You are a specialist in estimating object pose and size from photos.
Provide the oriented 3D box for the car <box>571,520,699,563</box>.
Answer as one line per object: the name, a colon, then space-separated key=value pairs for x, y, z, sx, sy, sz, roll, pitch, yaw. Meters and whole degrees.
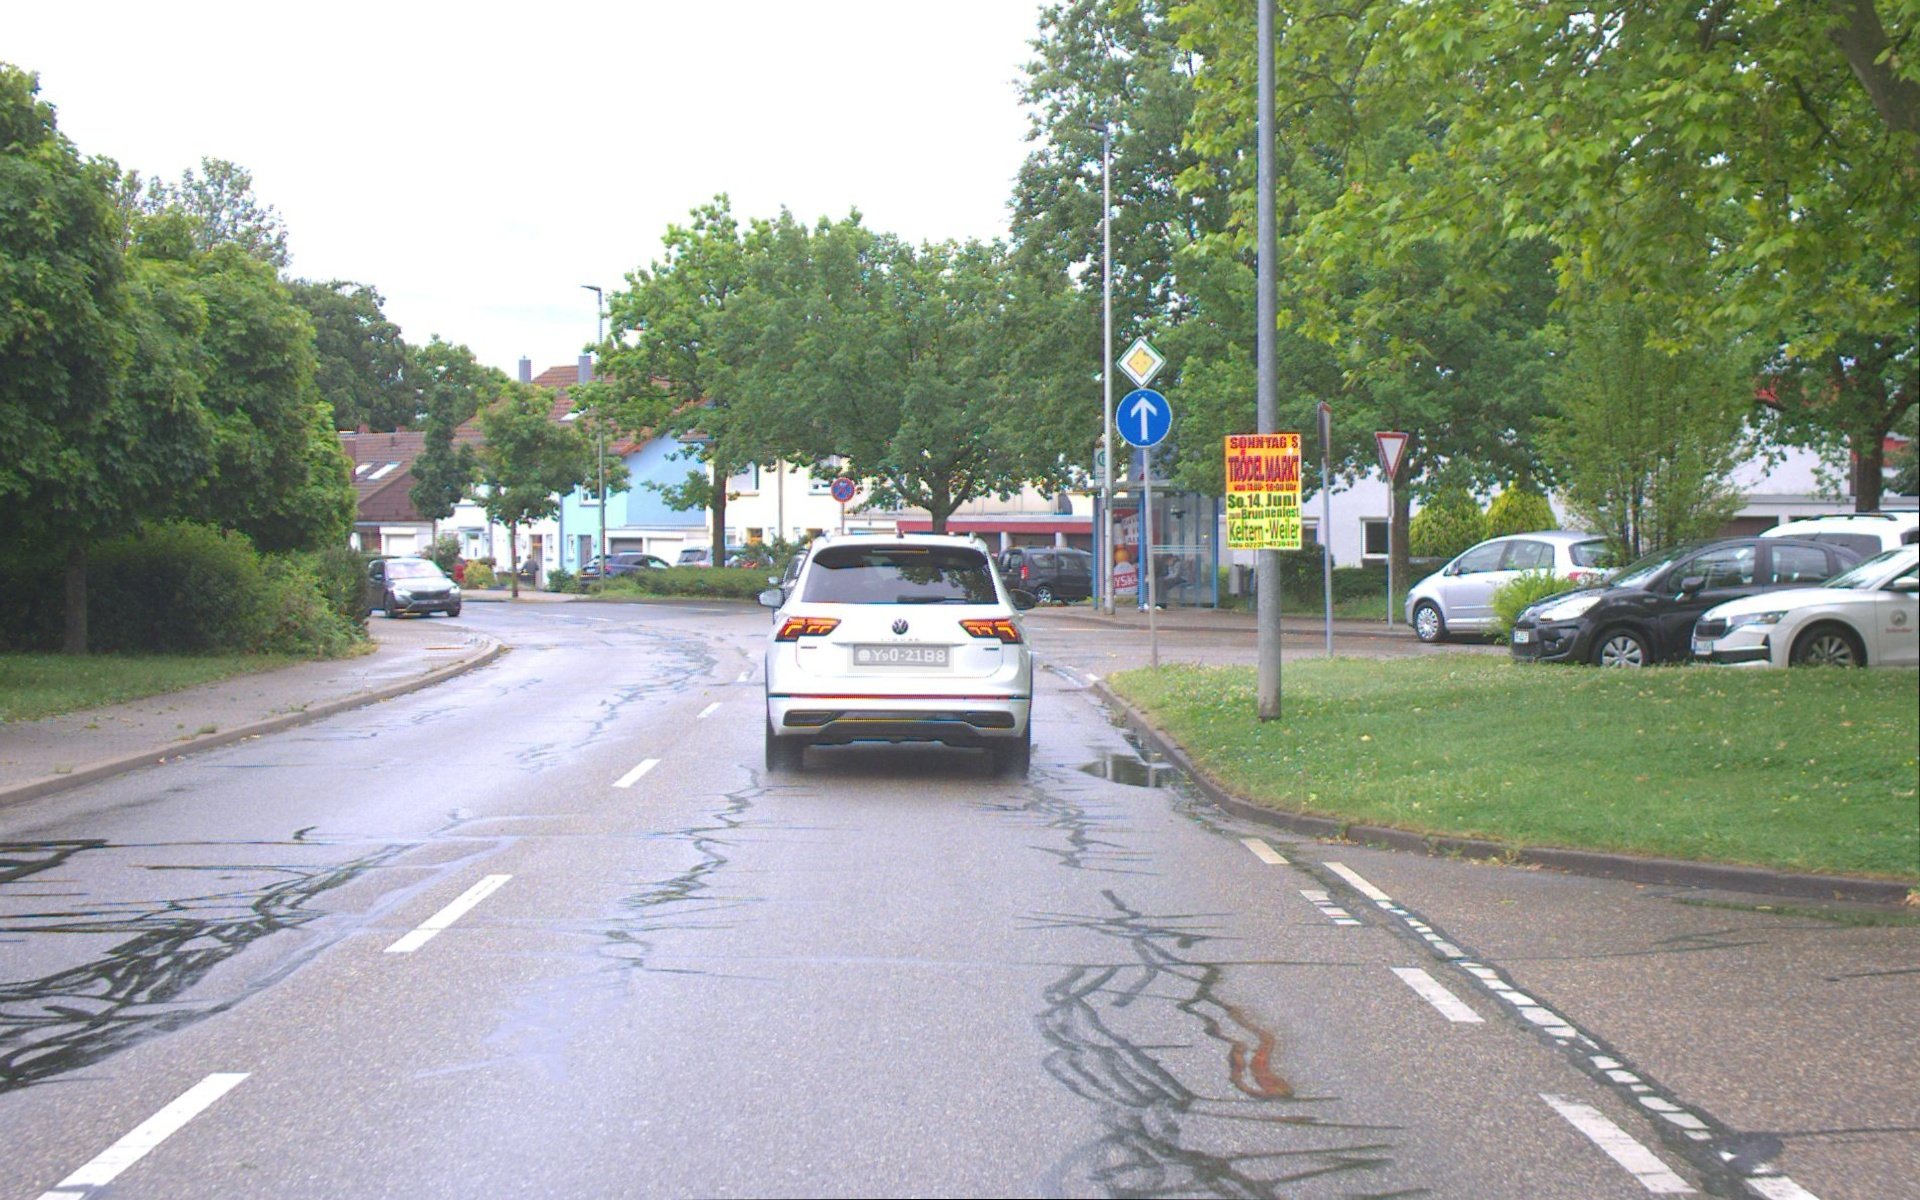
car: x=-10.843 y=-1.976 z=114.753 sx=3.988 sy=1.382 sz=1.674 roll=-2 pitch=2 yaw=-39

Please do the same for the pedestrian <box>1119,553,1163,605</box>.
pedestrian: x=3.522 y=-0.416 z=66.964 sx=0.748 sy=1.008 sz=0.551 roll=0 pitch=1 yaw=-9

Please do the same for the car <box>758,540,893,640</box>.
car: x=-2.241 y=-0.197 z=56.378 sx=1.768 sy=1.546 sz=4.001 roll=0 pitch=1 yaw=-9

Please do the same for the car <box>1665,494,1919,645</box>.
car: x=11.412 y=-0.426 z=44.874 sx=1.993 sy=1.874 sz=4.213 roll=-1 pitch=1 yaw=-31

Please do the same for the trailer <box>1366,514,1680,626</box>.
trailer: x=8.119 y=-0.463 z=49.916 sx=1.994 sy=1.537 sz=4.425 roll=-1 pitch=2 yaw=-35

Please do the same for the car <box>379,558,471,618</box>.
car: x=-13.288 y=-0.315 z=85.260 sx=1.740 sy=1.410 sz=4.144 roll=-1 pitch=1 yaw=-16

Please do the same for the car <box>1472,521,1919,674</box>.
car: x=7.712 y=-0.051 z=35.180 sx=4.572 sy=1.438 sz=1.765 roll=-1 pitch=1 yaw=-6

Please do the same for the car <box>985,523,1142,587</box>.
car: x=2.860 y=-1.258 z=94.630 sx=3.988 sy=1.715 sz=1.924 roll=-1 pitch=2 yaw=-37

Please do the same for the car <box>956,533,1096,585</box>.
car: x=1.887 y=-1.174 z=97.243 sx=3.693 sy=1.437 sz=1.707 roll=-1 pitch=2 yaw=-37

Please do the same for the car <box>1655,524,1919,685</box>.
car: x=9.111 y=0.002 z=32.671 sx=4.572 sy=1.438 sz=1.765 roll=-1 pitch=1 yaw=-6

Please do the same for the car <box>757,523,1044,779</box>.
car: x=-0.408 y=0.294 z=24.627 sx=1.865 sy=1.645 sz=4.000 roll=-1 pitch=1 yaw=0

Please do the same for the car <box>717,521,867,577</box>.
car: x=-5.170 y=-1.595 z=106.087 sx=4.180 sy=1.666 sz=1.991 roll=-1 pitch=2 yaw=-34
